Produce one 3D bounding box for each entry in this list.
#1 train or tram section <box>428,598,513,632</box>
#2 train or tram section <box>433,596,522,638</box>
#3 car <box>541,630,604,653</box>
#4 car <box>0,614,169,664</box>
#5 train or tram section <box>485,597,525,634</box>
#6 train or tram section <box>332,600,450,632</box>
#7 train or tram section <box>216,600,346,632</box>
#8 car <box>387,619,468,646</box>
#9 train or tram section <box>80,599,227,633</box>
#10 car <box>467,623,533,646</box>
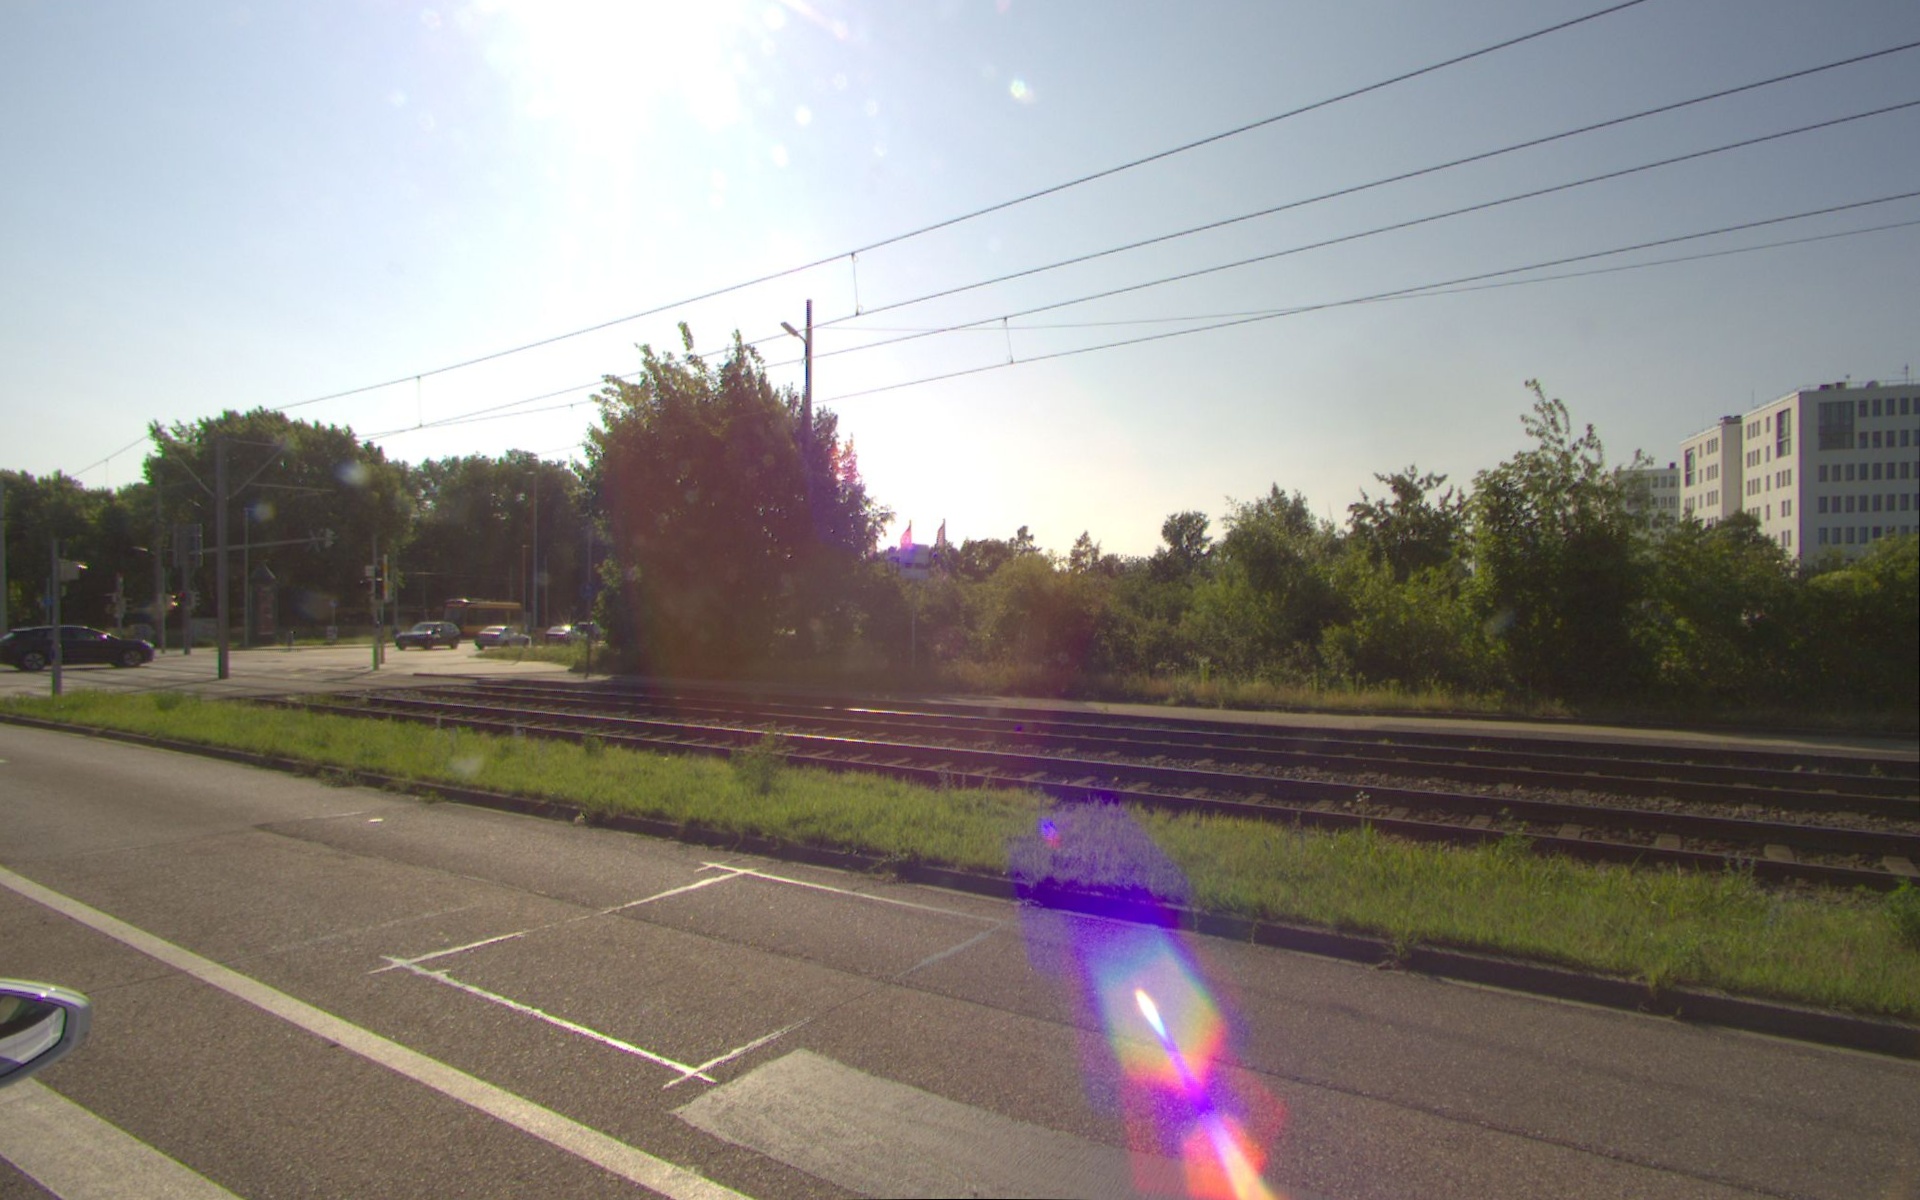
[{"bbox_3d":[-55.553,1.735,113.454,12.061,3.626,3.037,-1,-1,34],"label":"train or tram section"},{"bbox_3d":[-44.553,1.559,93.008,2.995,3.626,11.853,0,-1,-3],"label":"train or tram section"},{"bbox_3d":[-24.820,2.652,64.260,1.961,1.371,4.408,0,-1,6],"label":"car"},{"bbox_3d":[-32.831,1.466,37.688,1.629,1.744,4.589,-1,-2,39],"label":"car"},{"bbox_3d":[-47.647,1.618,104.622,3.009,3.626,12.174,0,-1,-28],"label":"train or tram section"},{"bbox_3d":[-66.497,1.873,117.233,11.992,3.626,3.054,0,-1,-1],"label":"train or tram section"},{"bbox_3d":[-78.210,1.849,115.632,12.027,3.626,3.045,0,-1,-22],"label":"train or tram section"},{"bbox_3d":[-31.890,1.921,60.136,2.005,1.583,4.863,0,-1,5],"label":"car"},{"bbox_3d":[-88.974,1.747,110.819,12.249,3.626,3.041,0,-1,-27],"label":"train or tram section"},{"bbox_3d":[-28.598,2.119,62.365,1.961,1.371,4.410,0,-1,2],"label":"car"}]
